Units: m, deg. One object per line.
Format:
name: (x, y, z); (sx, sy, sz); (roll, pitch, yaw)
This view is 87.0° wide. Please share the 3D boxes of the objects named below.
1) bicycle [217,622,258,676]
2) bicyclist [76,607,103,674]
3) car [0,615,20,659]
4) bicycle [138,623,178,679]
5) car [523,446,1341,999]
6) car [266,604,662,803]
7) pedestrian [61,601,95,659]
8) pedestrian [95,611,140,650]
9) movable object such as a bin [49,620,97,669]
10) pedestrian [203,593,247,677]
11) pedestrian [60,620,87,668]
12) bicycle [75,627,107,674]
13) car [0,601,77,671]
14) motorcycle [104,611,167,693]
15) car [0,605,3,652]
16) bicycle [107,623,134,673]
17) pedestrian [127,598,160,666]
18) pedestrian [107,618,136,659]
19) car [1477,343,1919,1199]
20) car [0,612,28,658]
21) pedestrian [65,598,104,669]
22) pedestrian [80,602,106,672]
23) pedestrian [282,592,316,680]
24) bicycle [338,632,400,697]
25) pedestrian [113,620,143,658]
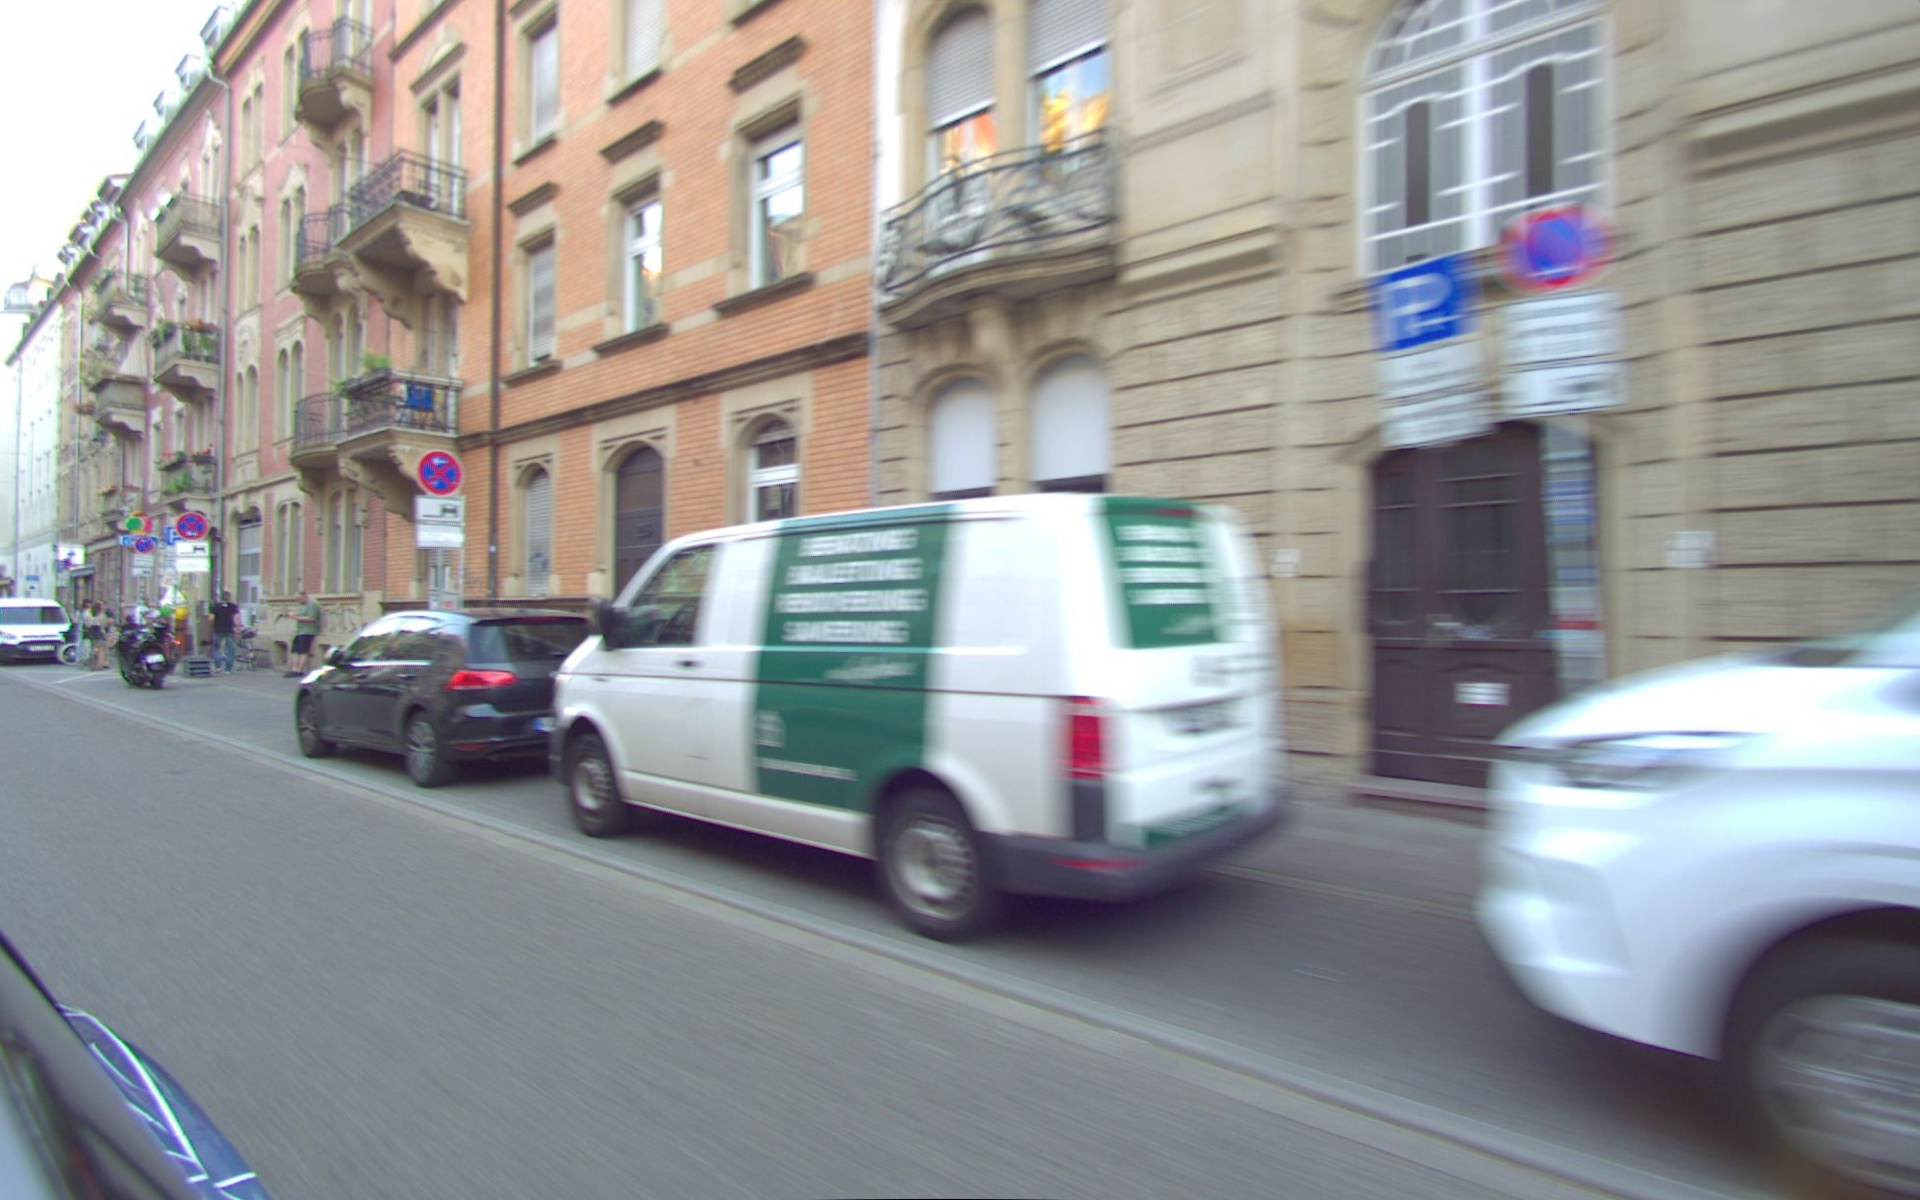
bicycle: (-16.683, 1.119, 23.365); (1.837, 1.168, 0.407); (0, 0, 43)
bicyclist: (-21.102, 0.966, 24.538); (0.487, 1.602, 0.460); (0, 0, 45)
car: (-37.095, 1.373, 38.324); (3.970, 1.608, 1.906); (-1, -1, 43)
bicycle: (-17.873, 1.126, 22.548); (1.837, 1.168, 0.407); (0, 0, 43)
car: (-0.548, 0.461, 5.868); (4.845, 1.936, 1.817); (-1, -1, 42)
car: (-4.807, 0.799, 9.571); (4.169, 1.482, 1.818); (-1, -1, 40)
pedestrian: (-26.806, 0.913, 30.772); (0.610, 1.743, 0.587); (0, 0, -21)
pedestrian: (-26.946, 0.972, 32.374); (0.503, 1.212, 1.028); (0, 0, 39)
movable object such as a bin: (-23.720, 1.174, 27.076); (0.776, 1.260, 0.878); (0, 0, 42)
pedestrian: (-16.399, 0.756, 22.576); (0.673, 1.824, 0.962); (0, 0, -43)
pedestrian: (-23.758, 1.174, 27.113); (0.652, 1.260, 0.473); (0, 0, 42)
bicycle: (-20.967, 1.200, 24.404); (1.521, 1.076, 0.460); (0, 0, 45)
car: (-26.334, 0.942, 28.336); (4.583, 1.802, 1.752); (0, 0, 40)
motorcycle: (-15.235, 0.924, 18.682); (2.015, 1.415, 0.677); (0, 0, 44)
car: (-41.149, 1.151, 41.745); (4.902, 1.897, 1.907); (-1, -1, 41)
bicycle: (-21.060, 1.178, 25.383); (0.460, 1.164, 2.003); (0, 0, -41)
pedestrian: (-22.244, 0.859, 27.589); (0.589, 1.827, 0.723); (0, 0, -30)
pedestrian: (-26.498, 1.199, 31.986); (0.585, 1.261, 0.612); (0, 0, 39)
car: (3.989, 0.409, 1.930); (5.022, 1.936, 2.088); (-1, -1, 40)
car: (-33.784, 1.193, 35.225); (3.792, 1.541, 1.686); (-1, -1, 43)
pedestrian: (-23.129, 0.865, 26.732); (0.718, 1.827, 0.593); (0, 0, 33)
pedestrian: (-21.389, 0.904, 24.957); (0.350, 1.722, 0.414); (0, 0, 36)
pedestrian: (-13.725, 0.728, 21.014); (0.642, 1.803, 0.458); (0, 0, 45)
bicycle: (-10.314, 1.101, 17.639); (1.740, 1.038, 0.443); (0, 0, 43)
pedestrian: (-25.844, 1.217, 31.440); (0.572, 1.148, 0.625); (0, 0, 39)
